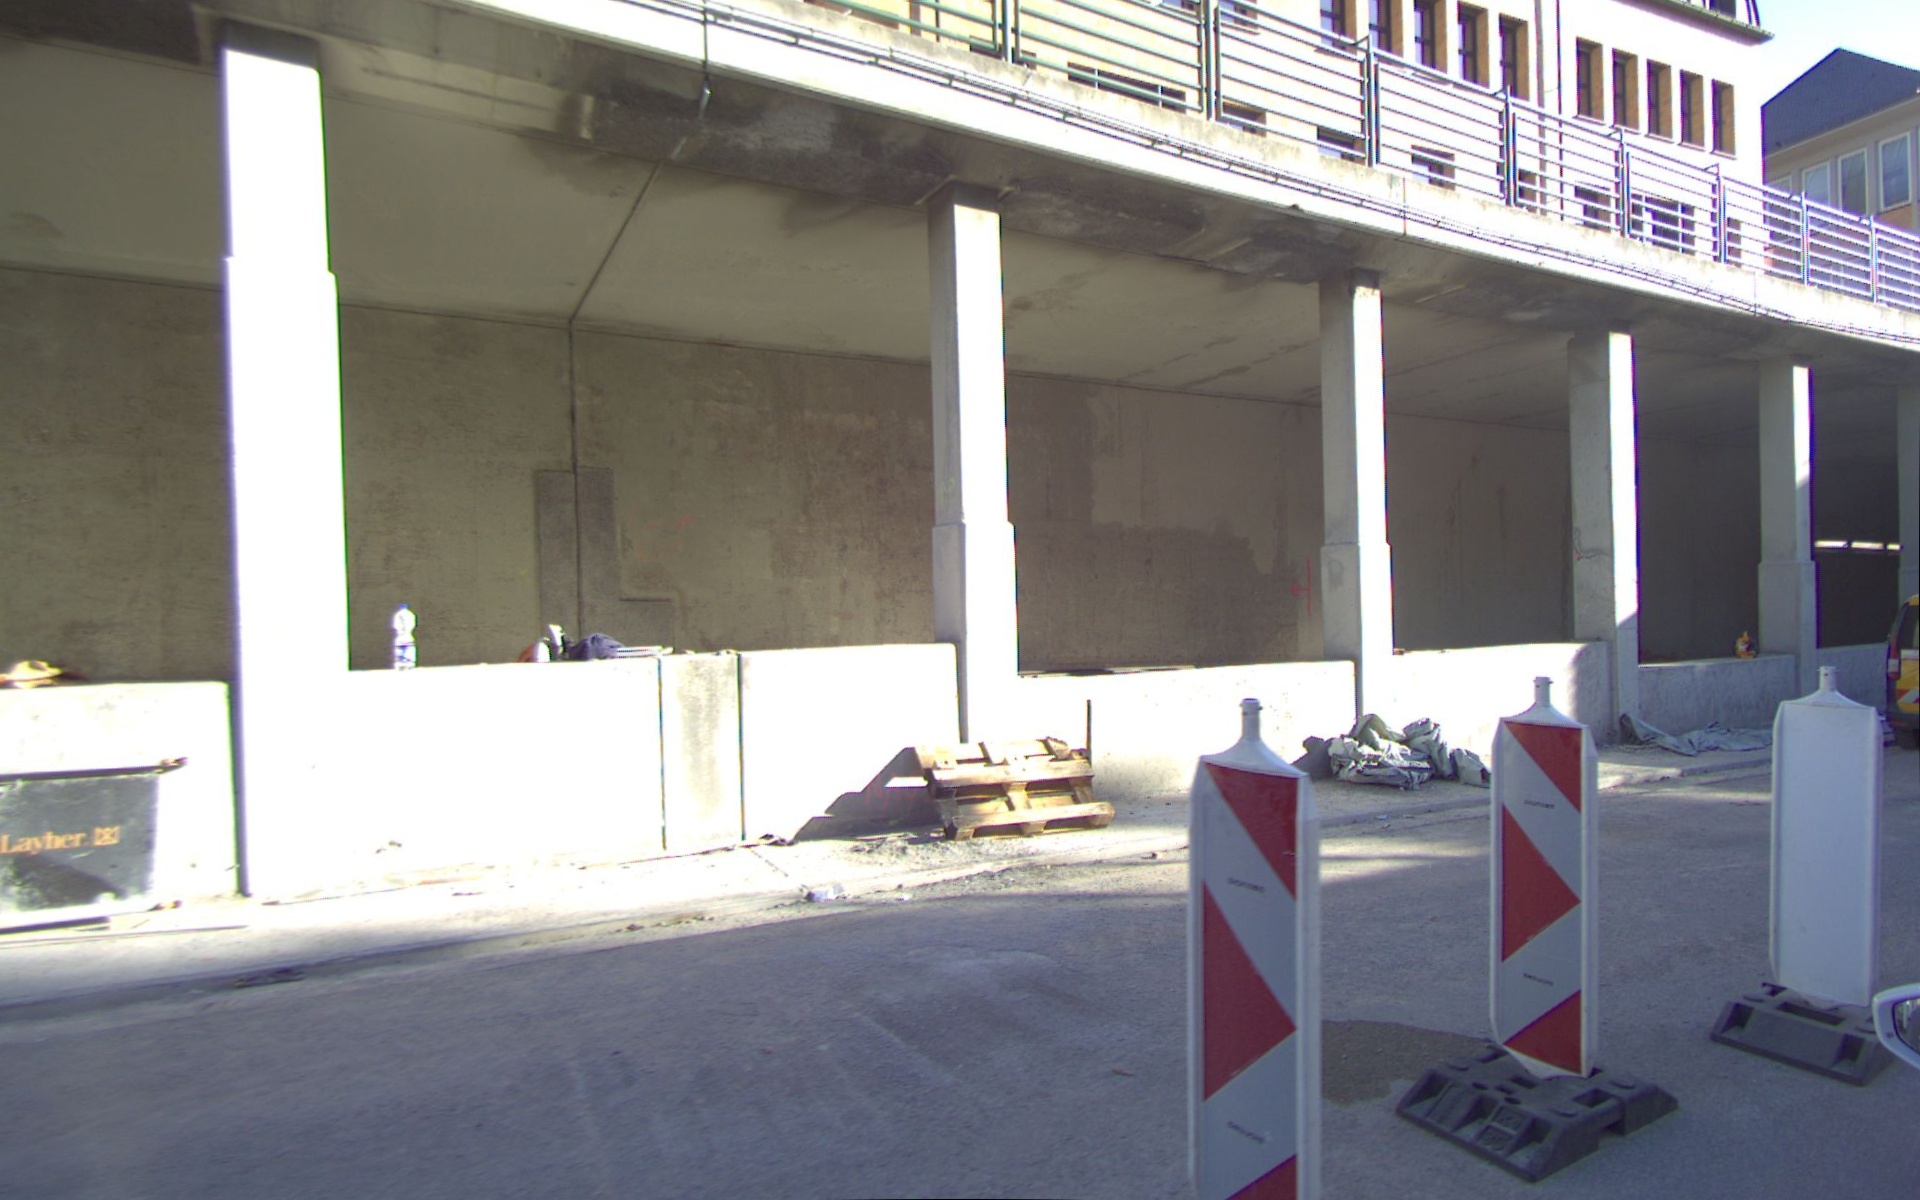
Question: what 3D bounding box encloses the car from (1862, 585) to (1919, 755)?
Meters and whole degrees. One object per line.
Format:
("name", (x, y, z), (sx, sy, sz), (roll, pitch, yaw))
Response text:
("car", (12.313, 0.723, 11.300), (4.378, 1.799, 1.841), (-1, 0, -28))
